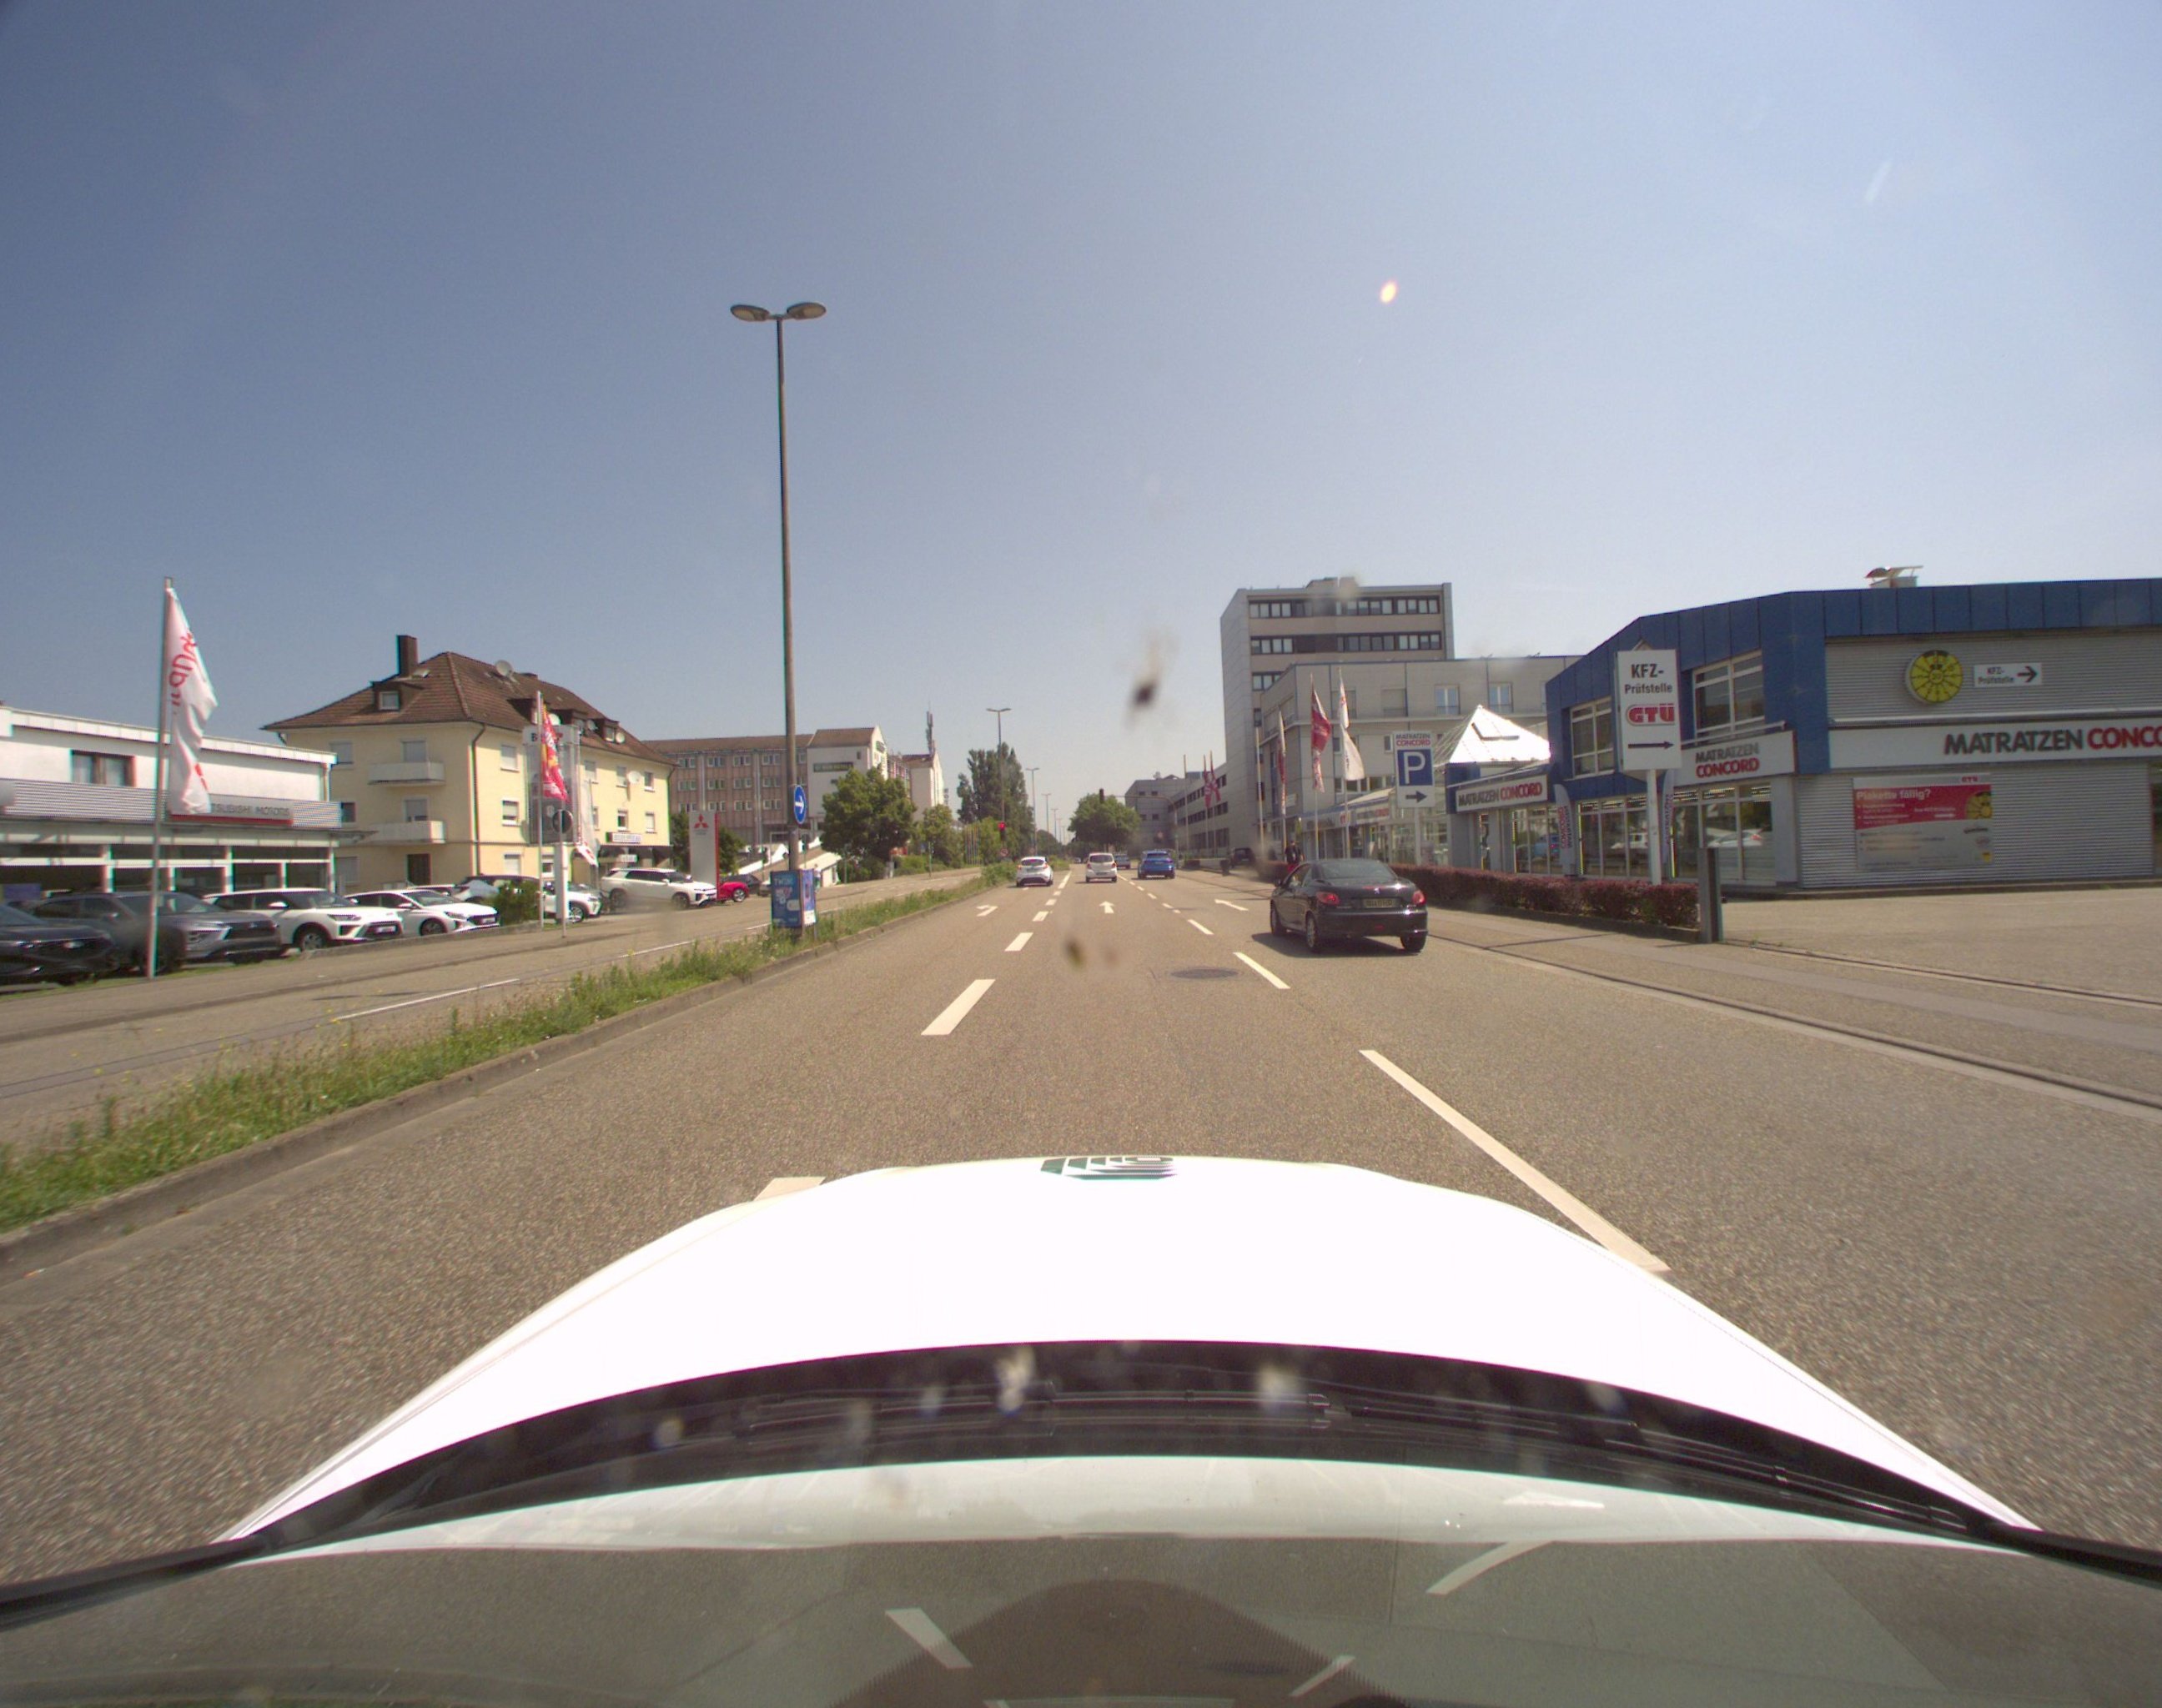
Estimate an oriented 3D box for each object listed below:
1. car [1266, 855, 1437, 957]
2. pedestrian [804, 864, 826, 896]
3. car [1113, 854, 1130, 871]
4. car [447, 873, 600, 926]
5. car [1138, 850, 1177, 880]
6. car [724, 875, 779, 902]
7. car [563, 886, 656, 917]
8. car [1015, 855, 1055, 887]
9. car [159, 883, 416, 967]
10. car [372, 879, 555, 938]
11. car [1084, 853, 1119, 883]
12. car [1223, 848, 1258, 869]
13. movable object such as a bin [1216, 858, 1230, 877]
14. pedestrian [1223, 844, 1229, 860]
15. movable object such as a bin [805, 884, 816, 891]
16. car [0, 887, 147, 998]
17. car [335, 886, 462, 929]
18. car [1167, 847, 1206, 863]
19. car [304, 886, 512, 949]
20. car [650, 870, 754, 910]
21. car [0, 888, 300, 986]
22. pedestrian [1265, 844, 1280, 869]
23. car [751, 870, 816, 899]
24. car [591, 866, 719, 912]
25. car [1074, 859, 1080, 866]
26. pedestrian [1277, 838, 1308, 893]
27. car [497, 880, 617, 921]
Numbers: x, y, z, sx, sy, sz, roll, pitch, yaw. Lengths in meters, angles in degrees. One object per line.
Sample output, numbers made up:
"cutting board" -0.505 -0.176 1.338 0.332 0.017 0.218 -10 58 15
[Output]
"car" 4.180 0.725 13.164 1.621 1.364 3.606 -2 0 1
"pedestrian" -14.885 1.449 45.577 0.738 1.747 1.034 -3 0 2
"car" 3.868 0.781 77.300 1.553 1.520 3.608 -2 0 3
"car" -18.429 1.482 27.025 4.018 1.624 1.740 2 -4 -37
"car" 4.321 0.618 46.539 1.822 1.580 3.604 -2 0 0
"car" -19.470 2.002 48.289 1.728 1.351 3.996 -3 0 -3
"car" -24.395 2.444 42.289 1.631 1.252 4.021 -3 0 21
"car" -2.241 0.806 40.627 1.683 1.434 3.711 -2 0 0
"car" -18.423 1.618 19.069 3.976 1.608 1.924 -3 0 -2
"car" -18.231 1.585 24.192 3.976 1.467 1.759 -3 0 -2
"car" 1.070 0.714 43.408 1.742 1.520 3.746 -1 0 1
"car" 12.118 0.346 62.029 1.838 1.531 4.196 -1 0 0
"movable object such as a bin" 7.658 0.723 43.898 0.549 0.919 0.653 -5 0 0
"pedestrian" 15.830 -0.206 88.925 0.589 1.634 0.524 -3 0 8
"movable object such as a bin" -14.984 1.851 45.104 0.415 0.372 0.506 -3 0 1
"car" -18.275 1.514 13.222 3.976 1.608 1.759 -4 0 -2
"car" -30.347 2.354 36.282 3.975 1.615 1.865 -3 0 -1
"car" 12.635 0.075 97.513 4.252 1.689 1.997 -3 0 -5
"car" -18.125 1.685 22.098 3.976 1.394 1.859 -3 0 -2
"car" -18.374 1.738 39.629 1.816 1.642 4.205 -3 0 38
"car" -18.375 1.584 16.113 3.976 1.568 1.759 -3 0 -2
"pedestrian" 12.946 0.164 55.131 0.807 1.627 0.853 -3 0 3
"car" -17.371 1.746 47.799 1.769 1.410 4.762 -3 0 3
"car" -18.445 1.505 35.394 4.534 1.709 1.759 -3 0 -2
"car" -1.196 2.480 238.408 1.814 1.662 3.998 -3 0 -1
"pedestrian" 7.350 0.381 28.278 0.782 1.846 0.937 -3 0 2
"car" -23.024 2.033 35.864 3.975 1.530 1.865 -3 0 -1
